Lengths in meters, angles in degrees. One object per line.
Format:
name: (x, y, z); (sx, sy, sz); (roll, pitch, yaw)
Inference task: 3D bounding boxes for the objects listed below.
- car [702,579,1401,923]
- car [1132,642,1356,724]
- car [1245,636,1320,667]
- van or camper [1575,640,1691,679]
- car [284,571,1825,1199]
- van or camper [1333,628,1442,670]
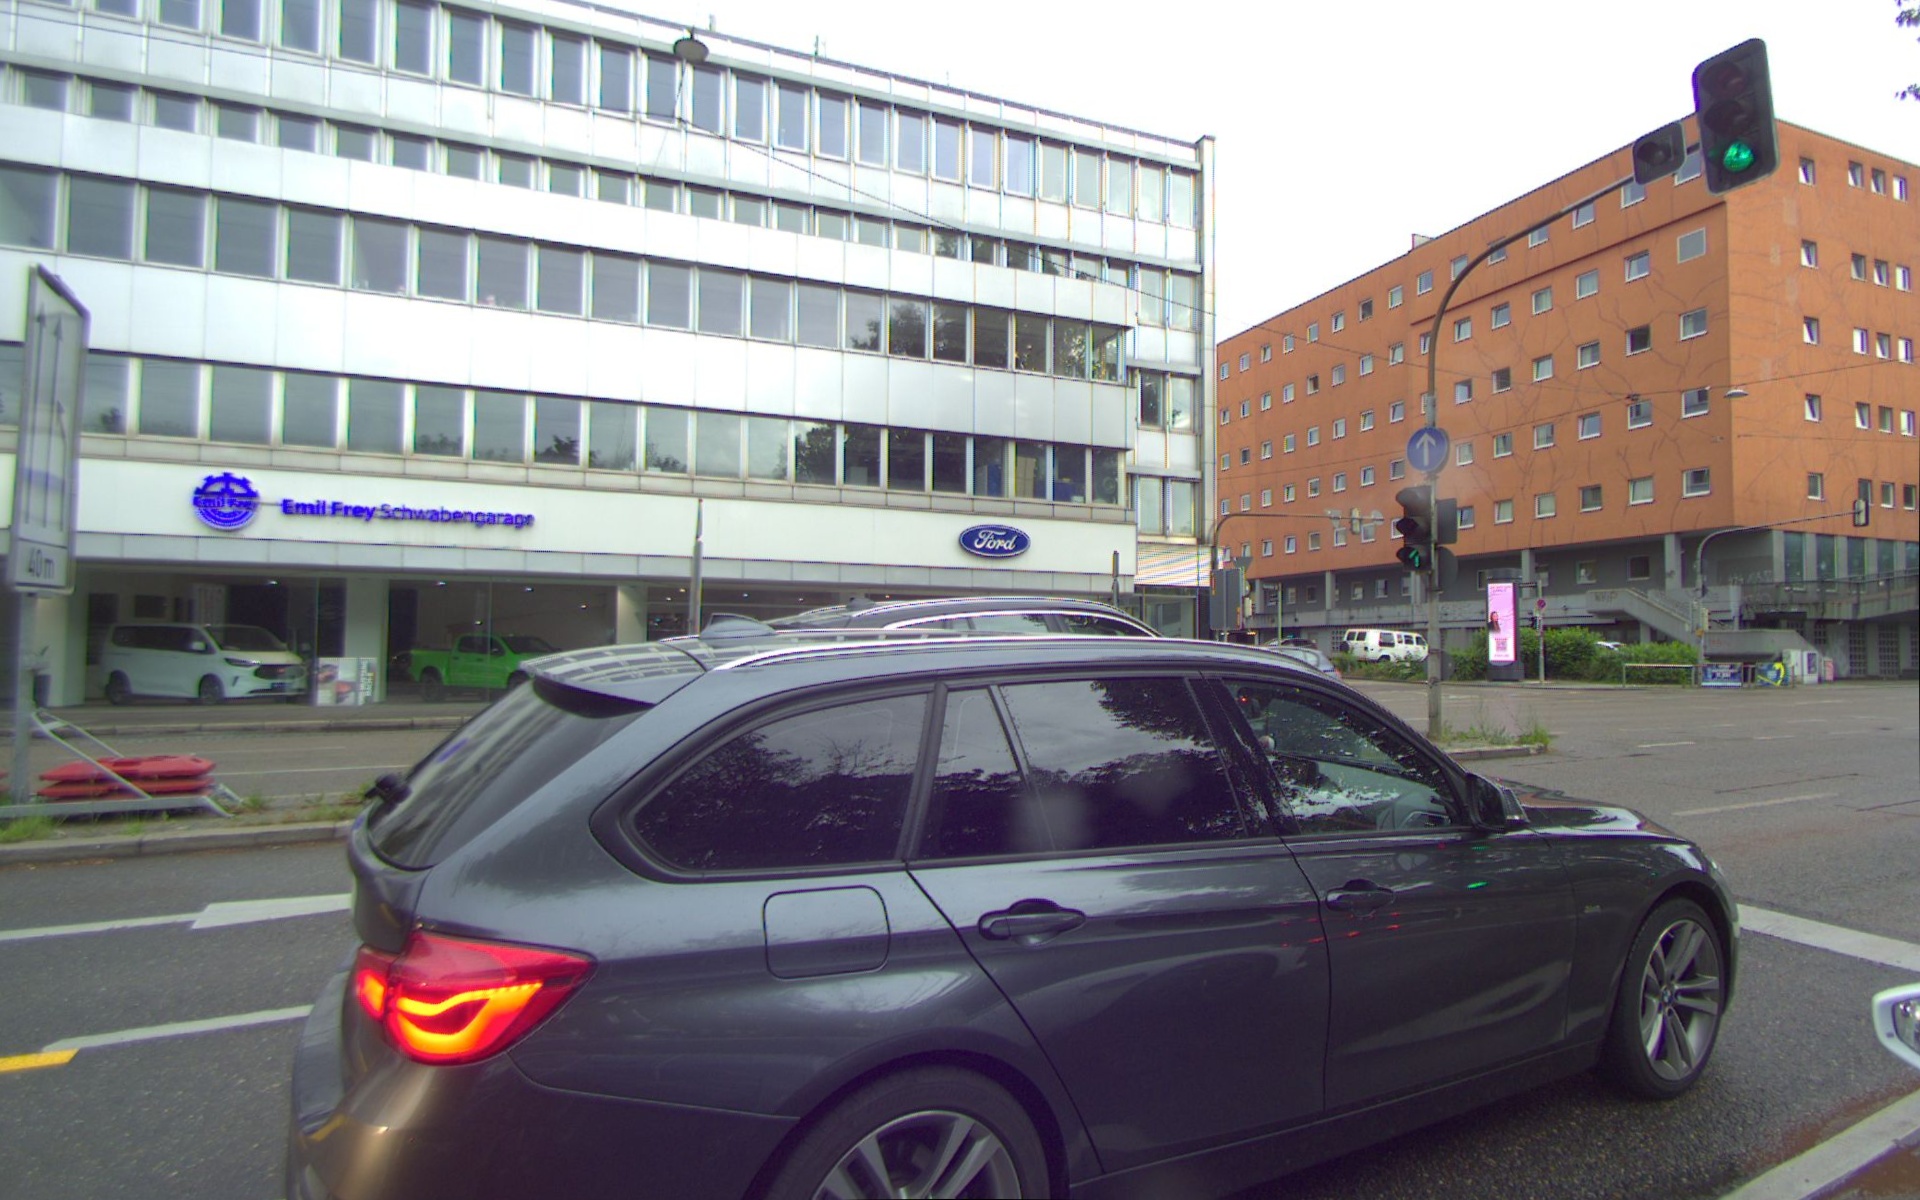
car: (0.695, 0.795, 6.743); (4.389, 1.678, 1.802); (2, 0, -28)
car: (5.480, 1.546, 19.303); (4.163, 1.437, 1.679); (2, -3, -29)
car: (18.953, 3.025, 59.012); (4.027, 1.633, 1.706); (2, 0, -23)
van or camper: (30.306, 2.641, 45.362); (1.887, 1.648, 3.978); (1, -2, -23)
car: (0.633, 0.793, 3.159); (4.424, 1.477, 1.769); (2, -3, -30)
van or camper: (22.279, 2.546, 52.351); (5.376, 2.004, 2.121); (2, 0, -23)
